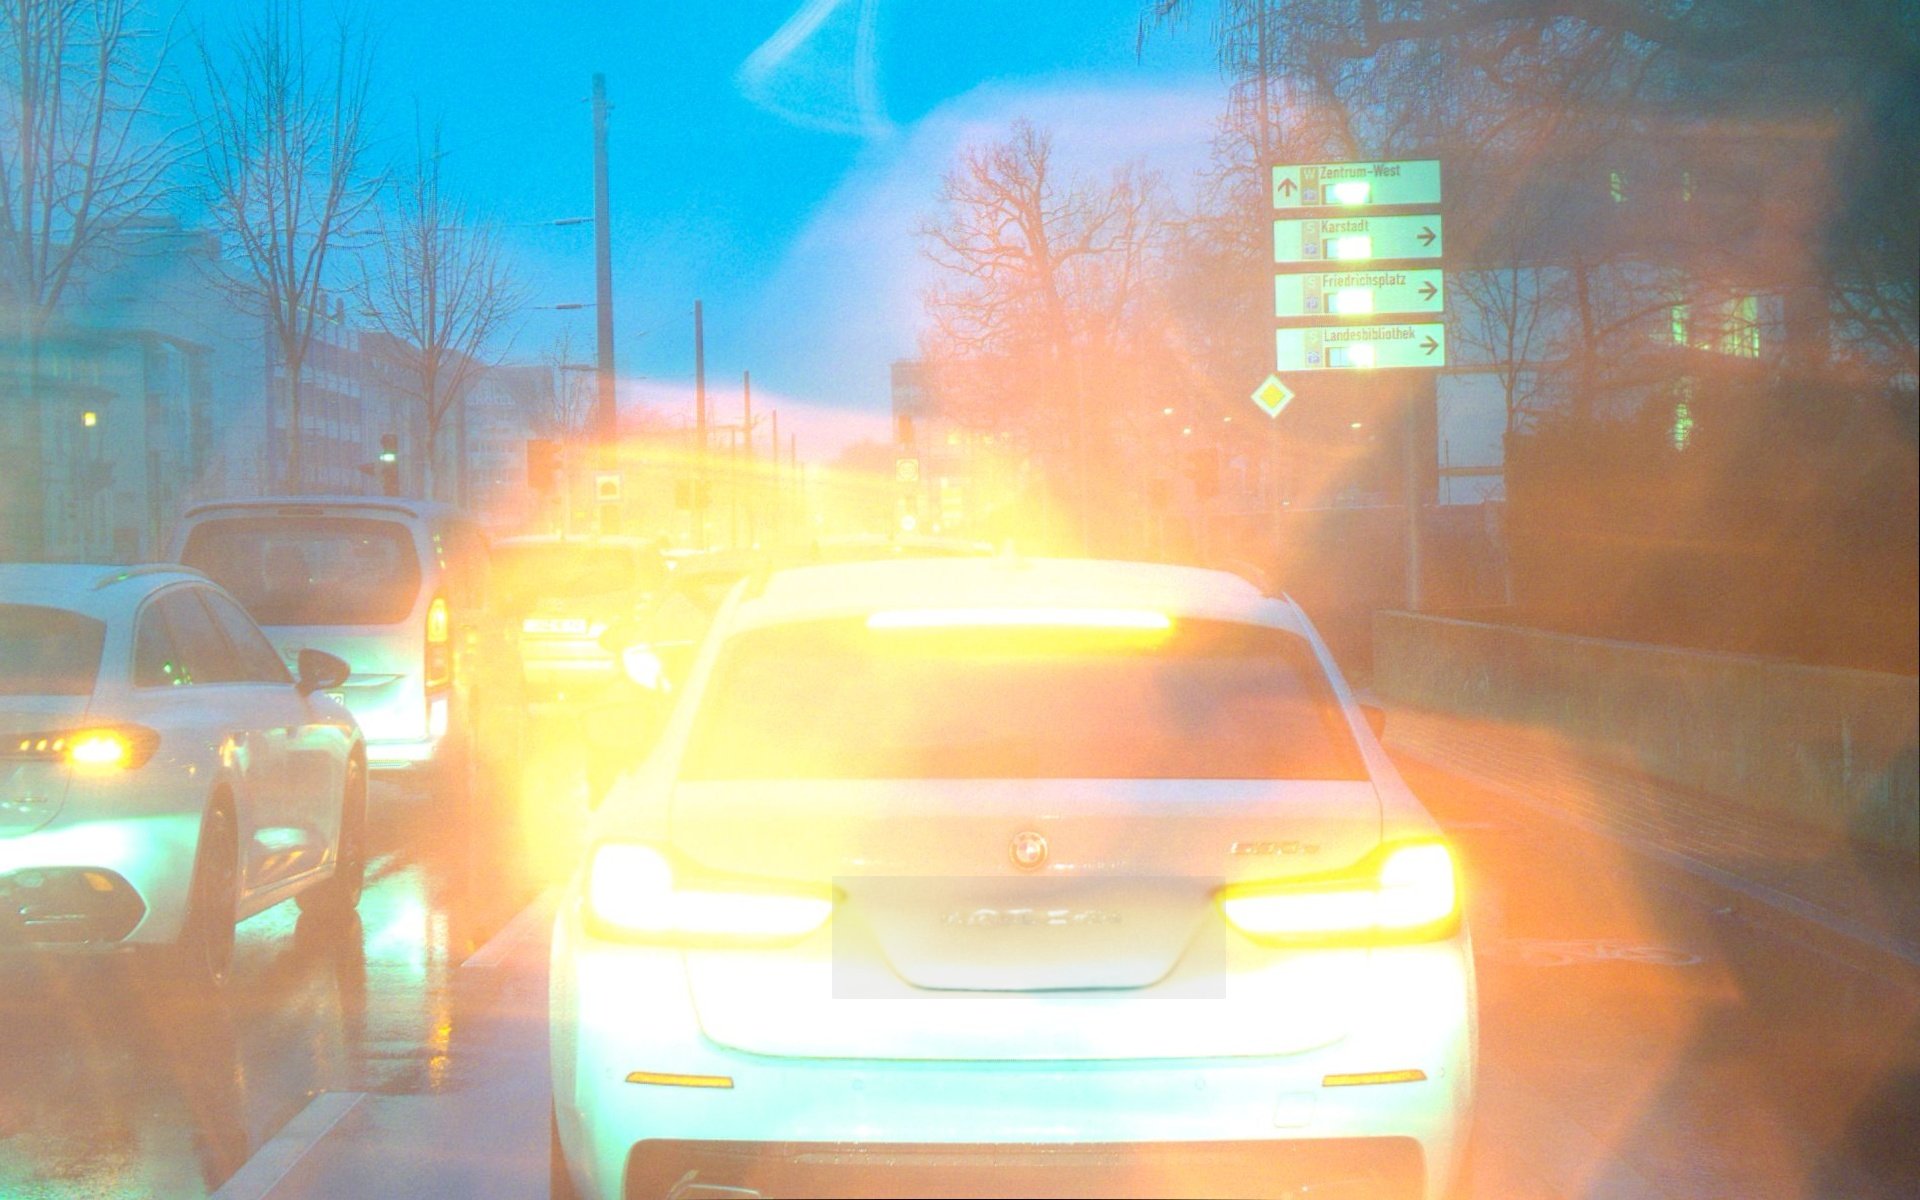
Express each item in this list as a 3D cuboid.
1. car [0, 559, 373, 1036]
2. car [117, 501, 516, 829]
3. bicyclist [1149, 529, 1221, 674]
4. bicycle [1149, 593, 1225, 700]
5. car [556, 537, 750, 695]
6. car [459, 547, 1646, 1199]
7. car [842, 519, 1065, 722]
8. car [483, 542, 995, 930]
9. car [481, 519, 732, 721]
[{"bbox_3d":[-3.378,0.558,12.451,1.846,1.400,4.614,0,1,-2],"label":"car"},{"bbox_3d":[-3.689,0.315,20.441,1.793,1.730,4.538,0,1,-4],"label":"car"},{"bbox_3d":[2.182,0.005,33.440,0.645,1.384,0.890,-1,1,2],"label":"bicyclist"},{"bbox_3d":[2.206,0.439,33.555,0.645,0.963,2.046,-1,1,2],"label":"bicycle"},{"bbox_3d":[-3.322,0.127,37.813,1.806,1.640,4.000,0,1,0],"label":"car"},{"bbox_3d":[0.137,0.644,7.884,1.999,1.503,4.164,0,1,-1],"label":"car"},{"bbox_3d":[-0.071,0.123,29.799,1.806,1.640,4.000,0,1,0],"label":"car"},{"bbox_3d":[-0.860,0.480,15.132,1.936,1.452,4.164,0,1,-1],"label":"car"},{"bbox_3d":[-3.009,0.125,29.973,1.806,1.640,4.000,0,1,0],"label":"car"}]
